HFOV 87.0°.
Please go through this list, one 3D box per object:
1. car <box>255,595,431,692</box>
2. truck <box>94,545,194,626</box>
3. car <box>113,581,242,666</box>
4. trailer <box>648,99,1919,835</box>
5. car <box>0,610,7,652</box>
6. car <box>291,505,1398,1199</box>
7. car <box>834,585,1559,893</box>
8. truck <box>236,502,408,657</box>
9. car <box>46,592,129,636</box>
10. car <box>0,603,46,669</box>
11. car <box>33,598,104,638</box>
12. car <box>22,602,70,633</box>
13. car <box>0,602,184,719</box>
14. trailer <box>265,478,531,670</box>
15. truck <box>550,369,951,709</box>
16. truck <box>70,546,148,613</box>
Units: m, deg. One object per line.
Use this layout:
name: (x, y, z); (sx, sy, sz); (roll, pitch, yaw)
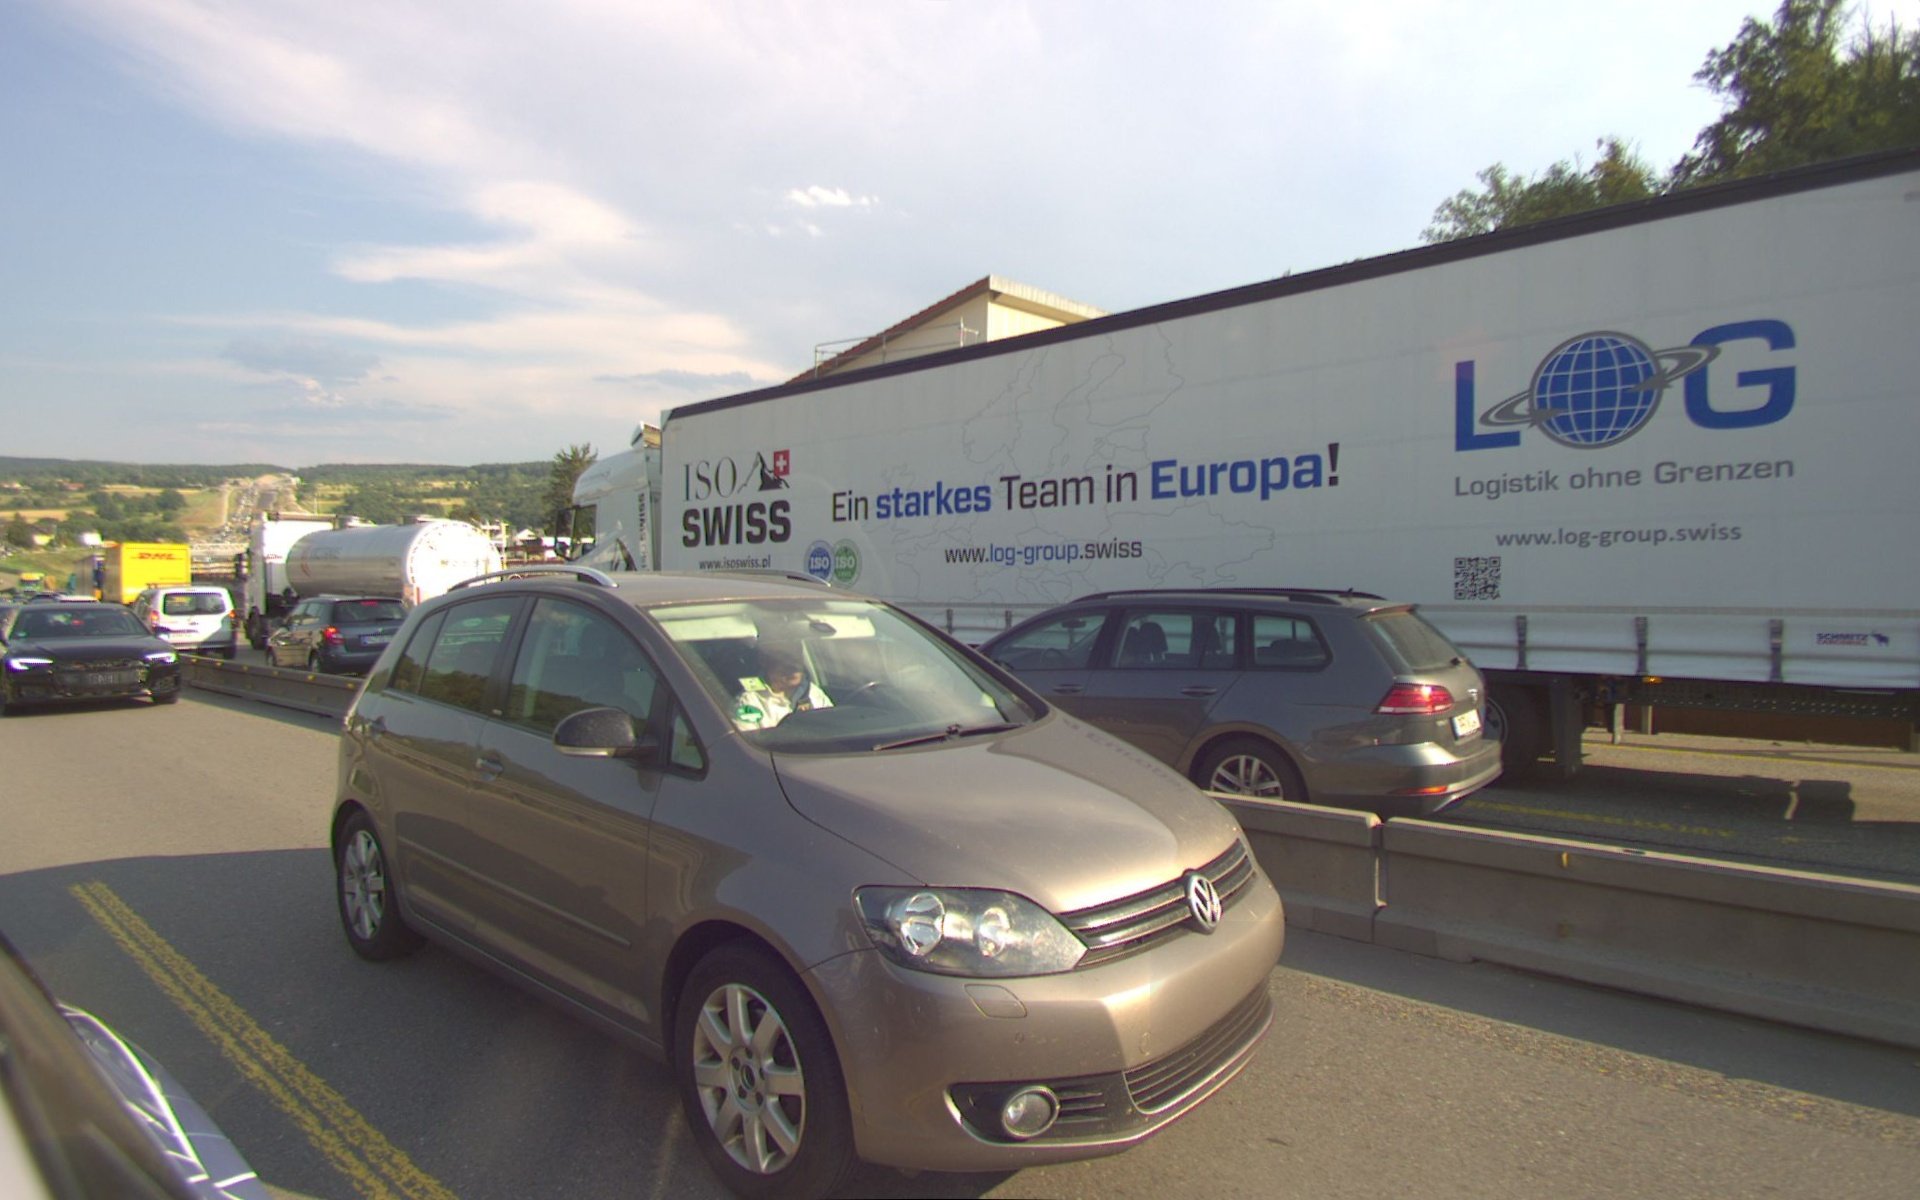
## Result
car: (-10.862, 0.686, 17.729); (3.689, 1.521, 1.640); (0, 0, 42)
truck: (-41.021, -0.698, 50.729); (9.493, 3.738, 2.860); (1, 1, 45)
car: (-19.491, 0.534, 25.148); (3.999, 1.924, 1.843); (0, 0, 42)
trailer: (1.776, -0.739, 10.624); (13.965, 4.066, 2.827); (0, 0, 42)
car: (-31.049, 0.942, 31.562); (3.999, 1.256, 1.606); (0, 1, 42)
car: (-0.804, 0.620, 3.680); (4.097, 1.585, 1.666); (0, 1, 41)
car: (1.314, 0.655, 6.884); (4.561, 1.440, 1.640); (0, 1, 40)
truck: (-18.184, -0.524, 28.685); (6.202, 3.917, 2.571); (0, 0, 42)
car: (-30.456, 0.474, 35.287); (4.001, 1.423, 1.774); (0, -2, 44)
car: (-22.688, 0.838, 23.576); (3.999, 1.409, 1.676); (-1, 1, 43)
car: (-36.643, 0.706, 41.580); (3.999, 1.541, 1.707); (0, 1, 42)
car: (-49.178, 0.905, 54.434); (1.734, 1.541, 4.003); (0, 1, -45)
car: (-12.646, 0.748, 14.400); (3.999, 1.409, 1.843); (0, 0, 42)
trailer: (-14.300, -0.536, 25.123); (10.576, 3.910, 2.569); (0, 0, 43)
truck: (-3.337, -0.737, 15.198); (6.099, 4.066, 2.814); (0, 0, 42)
truck: (-53.266, -1.254, 63.227); (9.493, 3.912, 2.860); (1, 1, 45)
